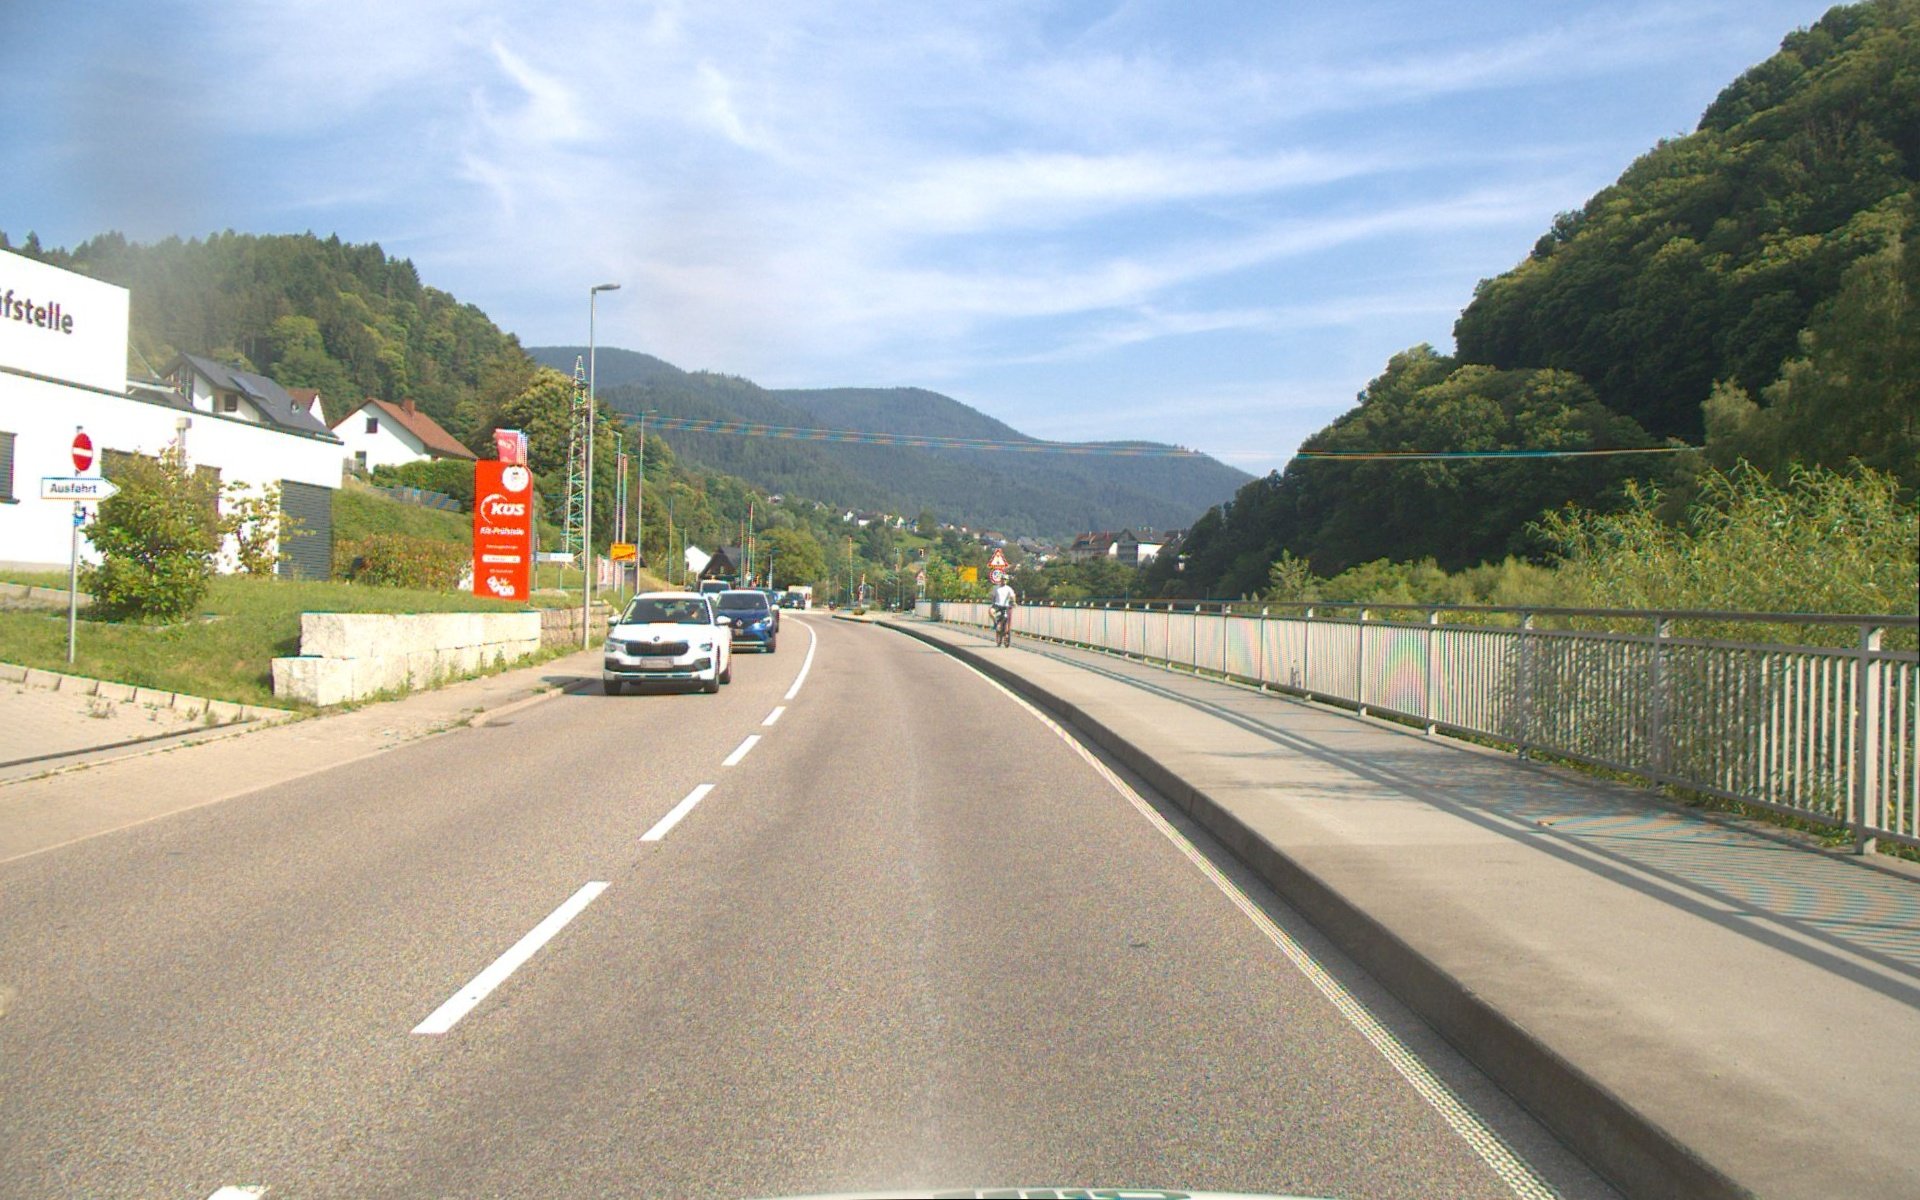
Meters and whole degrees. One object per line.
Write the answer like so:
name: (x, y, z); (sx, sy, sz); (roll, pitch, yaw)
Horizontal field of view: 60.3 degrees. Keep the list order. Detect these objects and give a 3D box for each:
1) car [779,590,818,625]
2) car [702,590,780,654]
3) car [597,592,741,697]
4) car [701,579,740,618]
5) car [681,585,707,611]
car: (-7.949, 0.343, 81.708); (1.761, 1.646, 4.459); (1, 0, -4)
car: (-5.610, 0.525, 42.726); (1.710, 1.553, 3.997); (0, 0, -4)
car: (-4.551, 0.646, 26.373); (1.714, 1.530, 4.188); (0, 0, -3)
car: (-12.652, -0.114, 87.644); (1.860, 1.920, 5.287); (2, 0, -7)
car: (-17.671, -0.127, 109.913); (1.674, 1.611, 4.150); (2, 0, -9)
